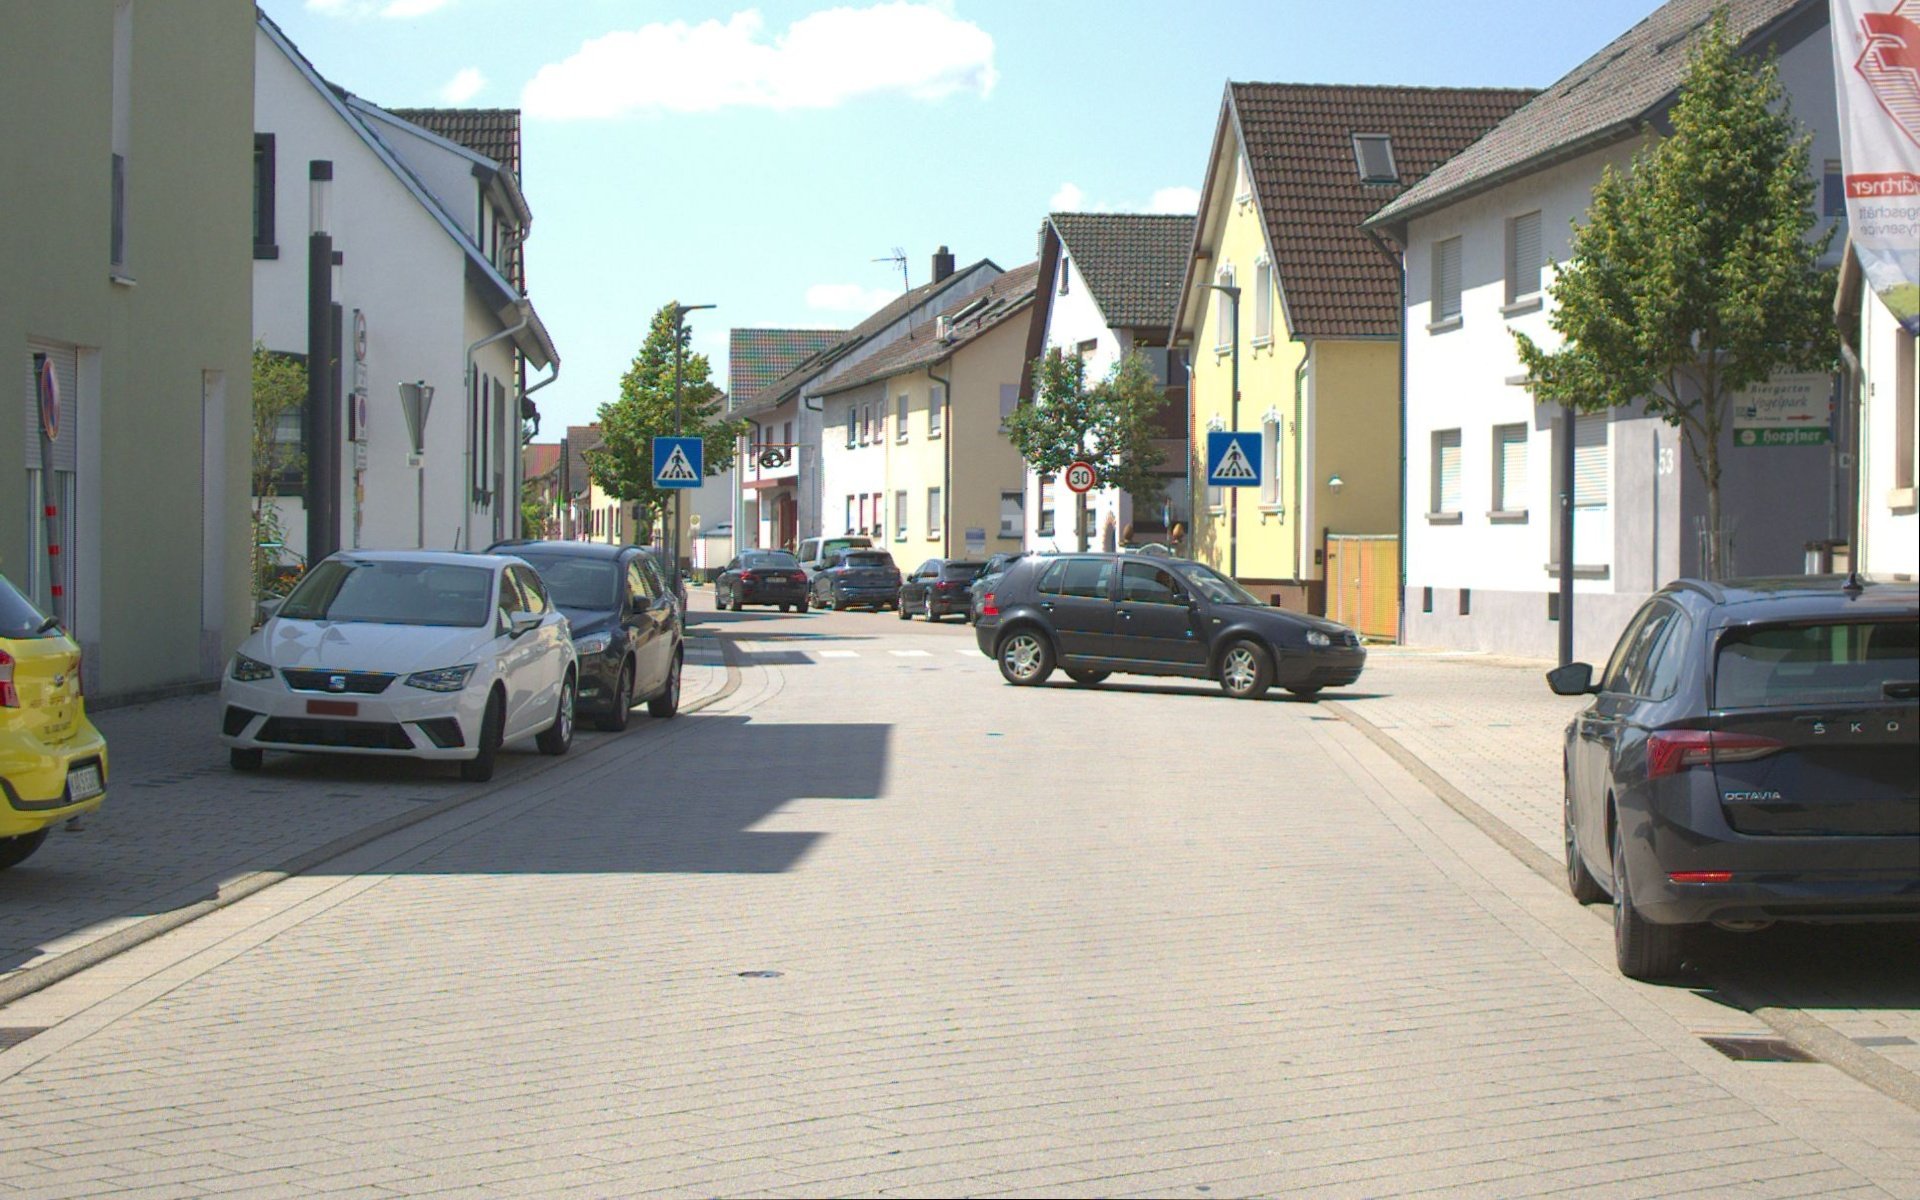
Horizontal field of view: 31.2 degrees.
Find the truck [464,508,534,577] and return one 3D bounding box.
[{"bbox_3d":[-26.861,-3.372,200.044,3.563,3.940,8.584,0,1,-11],"label":"truck"}]

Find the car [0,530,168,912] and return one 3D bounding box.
[{"bbox_3d":[-5.542,0.403,14.965,3.692,1.520,1.672,3,1,4],"label":"car"}]

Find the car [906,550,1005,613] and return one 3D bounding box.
[{"bbox_3d":[-0.132,-0.433,77.994,1.710,1.382,3.707,0,1,-8],"label":"car"}]

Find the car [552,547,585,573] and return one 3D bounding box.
[{"bbox_3d":[-22.161,-2.292,194.381,1.687,1.447,3.794,0,1,-9],"label":"car"}]

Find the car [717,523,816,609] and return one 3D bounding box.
[{"bbox_3d":[-4.751,-0.847,83.868,1.993,2.051,4.375,0,1,-9],"label":"car"}]

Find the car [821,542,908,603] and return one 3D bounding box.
[{"bbox_3d":[-2.570,-0.753,91.706,1.877,1.586,4.001,0,1,-8],"label":"car"}]

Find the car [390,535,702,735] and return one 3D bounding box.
[{"bbox_3d":[-3.388,0.230,28.914,1.813,1.485,4.277,2,1,4],"label":"car"}]

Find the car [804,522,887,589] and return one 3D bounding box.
[{"bbox_3d":[-3.265,-1.270,97.164,1.906,1.865,4.001,0,1,-8],"label":"car"}]

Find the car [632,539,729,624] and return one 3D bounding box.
[{"bbox_3d":[-5.392,-0.375,65.928,1.747,1.525,4.001,2,1,-6],"label":"car"}]

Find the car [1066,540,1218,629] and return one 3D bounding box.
[{"bbox_3d":[3.182,-0.292,60.895,1.828,1.466,4.277,-2,1,-8],"label":"car"}]

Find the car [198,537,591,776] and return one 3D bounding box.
[{"bbox_3d":[-3.731,0.314,23.318,1.758,1.406,3.877,2,1,4],"label":"car"}]

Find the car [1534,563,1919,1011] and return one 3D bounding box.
[{"bbox_3d":[3.401,0.610,13.841,1.858,1.454,4.585,-1,1,6],"label":"car"}]

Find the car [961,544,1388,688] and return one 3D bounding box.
[{"bbox_3d":[2.248,0.157,36.053,4.111,1.433,1.763,0,1,24],"label":"car"}]
